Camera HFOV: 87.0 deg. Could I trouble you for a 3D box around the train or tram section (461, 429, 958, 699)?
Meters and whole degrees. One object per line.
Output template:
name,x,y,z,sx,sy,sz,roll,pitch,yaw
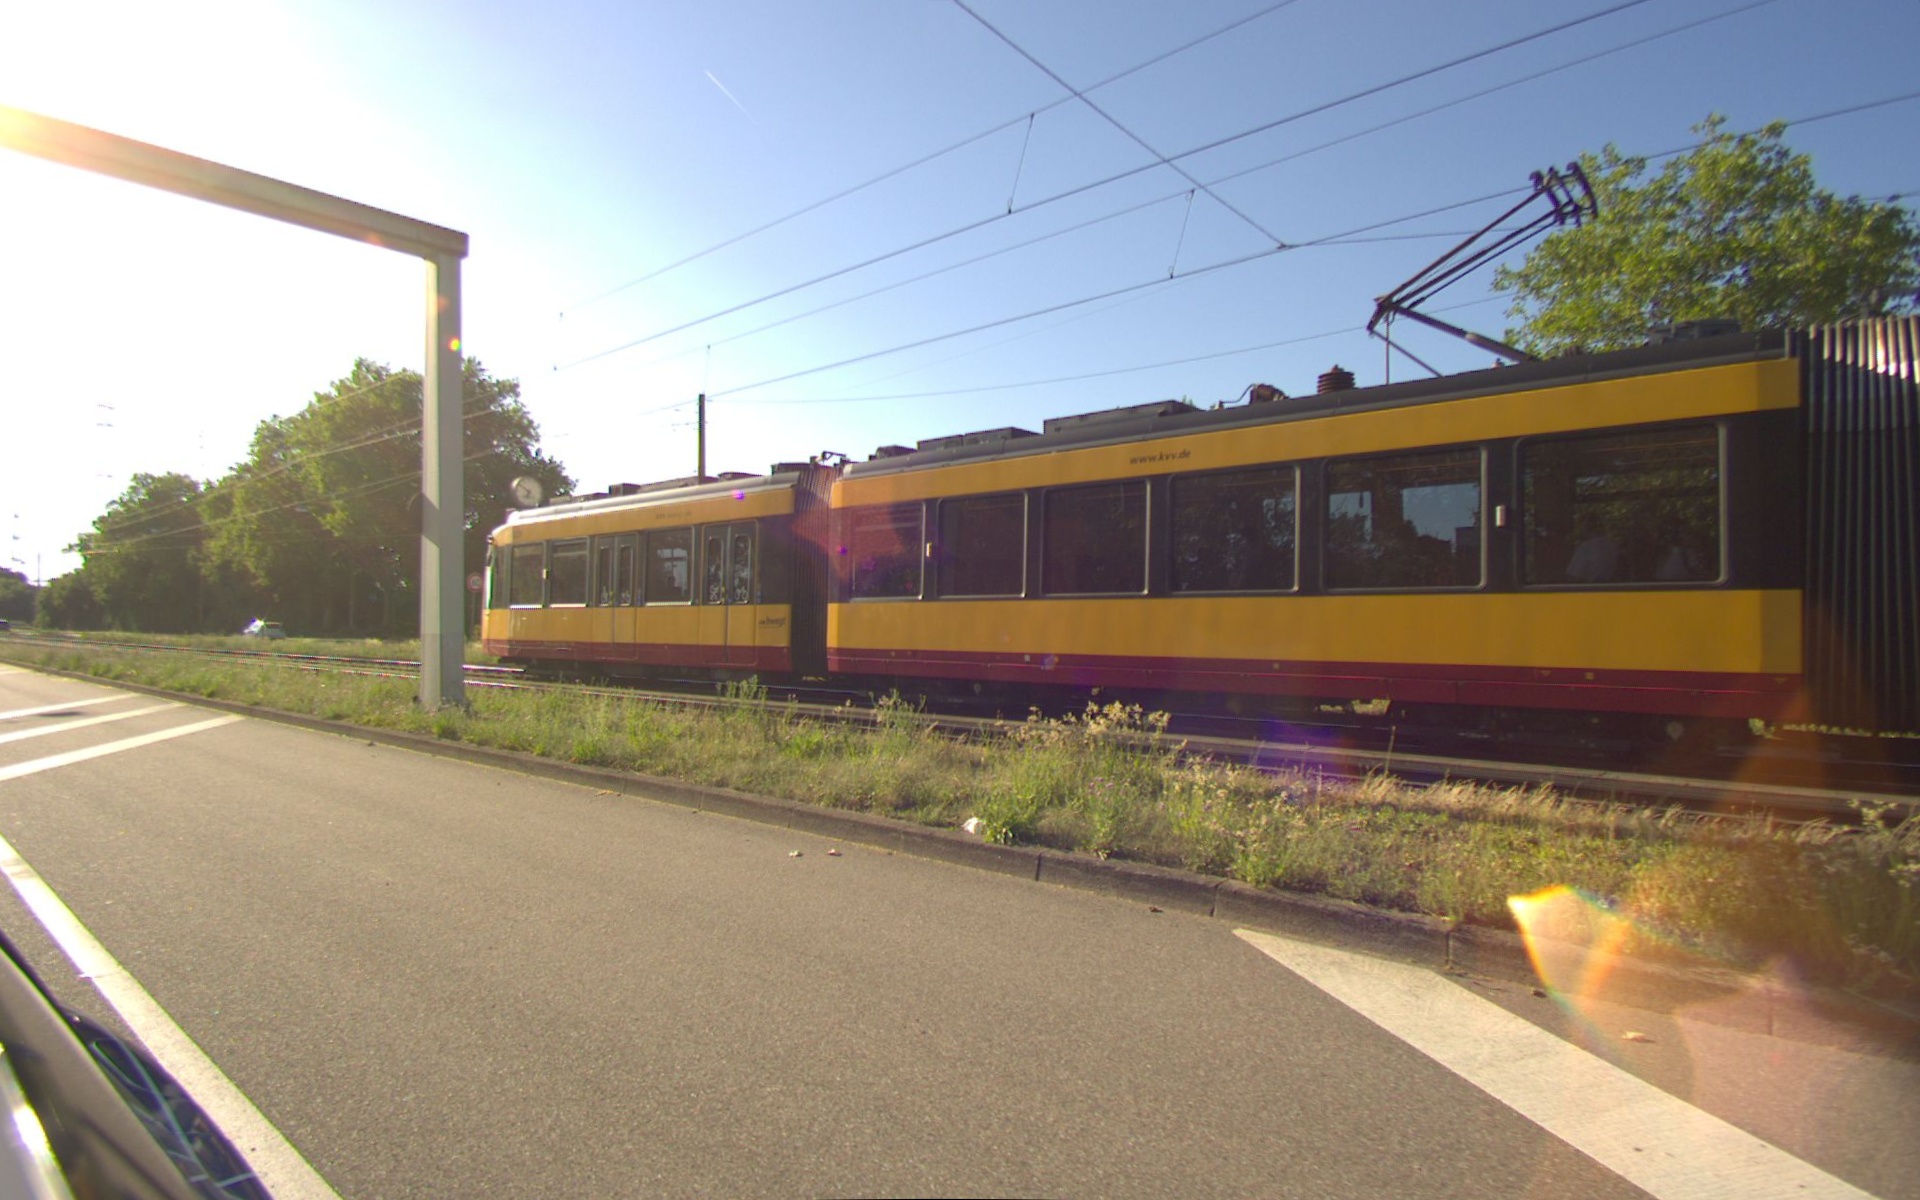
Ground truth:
train or tram section,-5.631,-0.458,19.807,12.323,3.932,2.775,-1,0,40

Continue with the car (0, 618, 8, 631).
car,-134.538,3.380,141.221,4.936,1.707,1.879,-1,-3,39

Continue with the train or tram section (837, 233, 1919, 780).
train or tram section,3.677,-0.609,11.848,11.982,3.932,2.775,-1,0,40

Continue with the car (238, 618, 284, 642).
car,-50.101,2.140,72.493,4.271,1.537,1.636,2,-1,41
